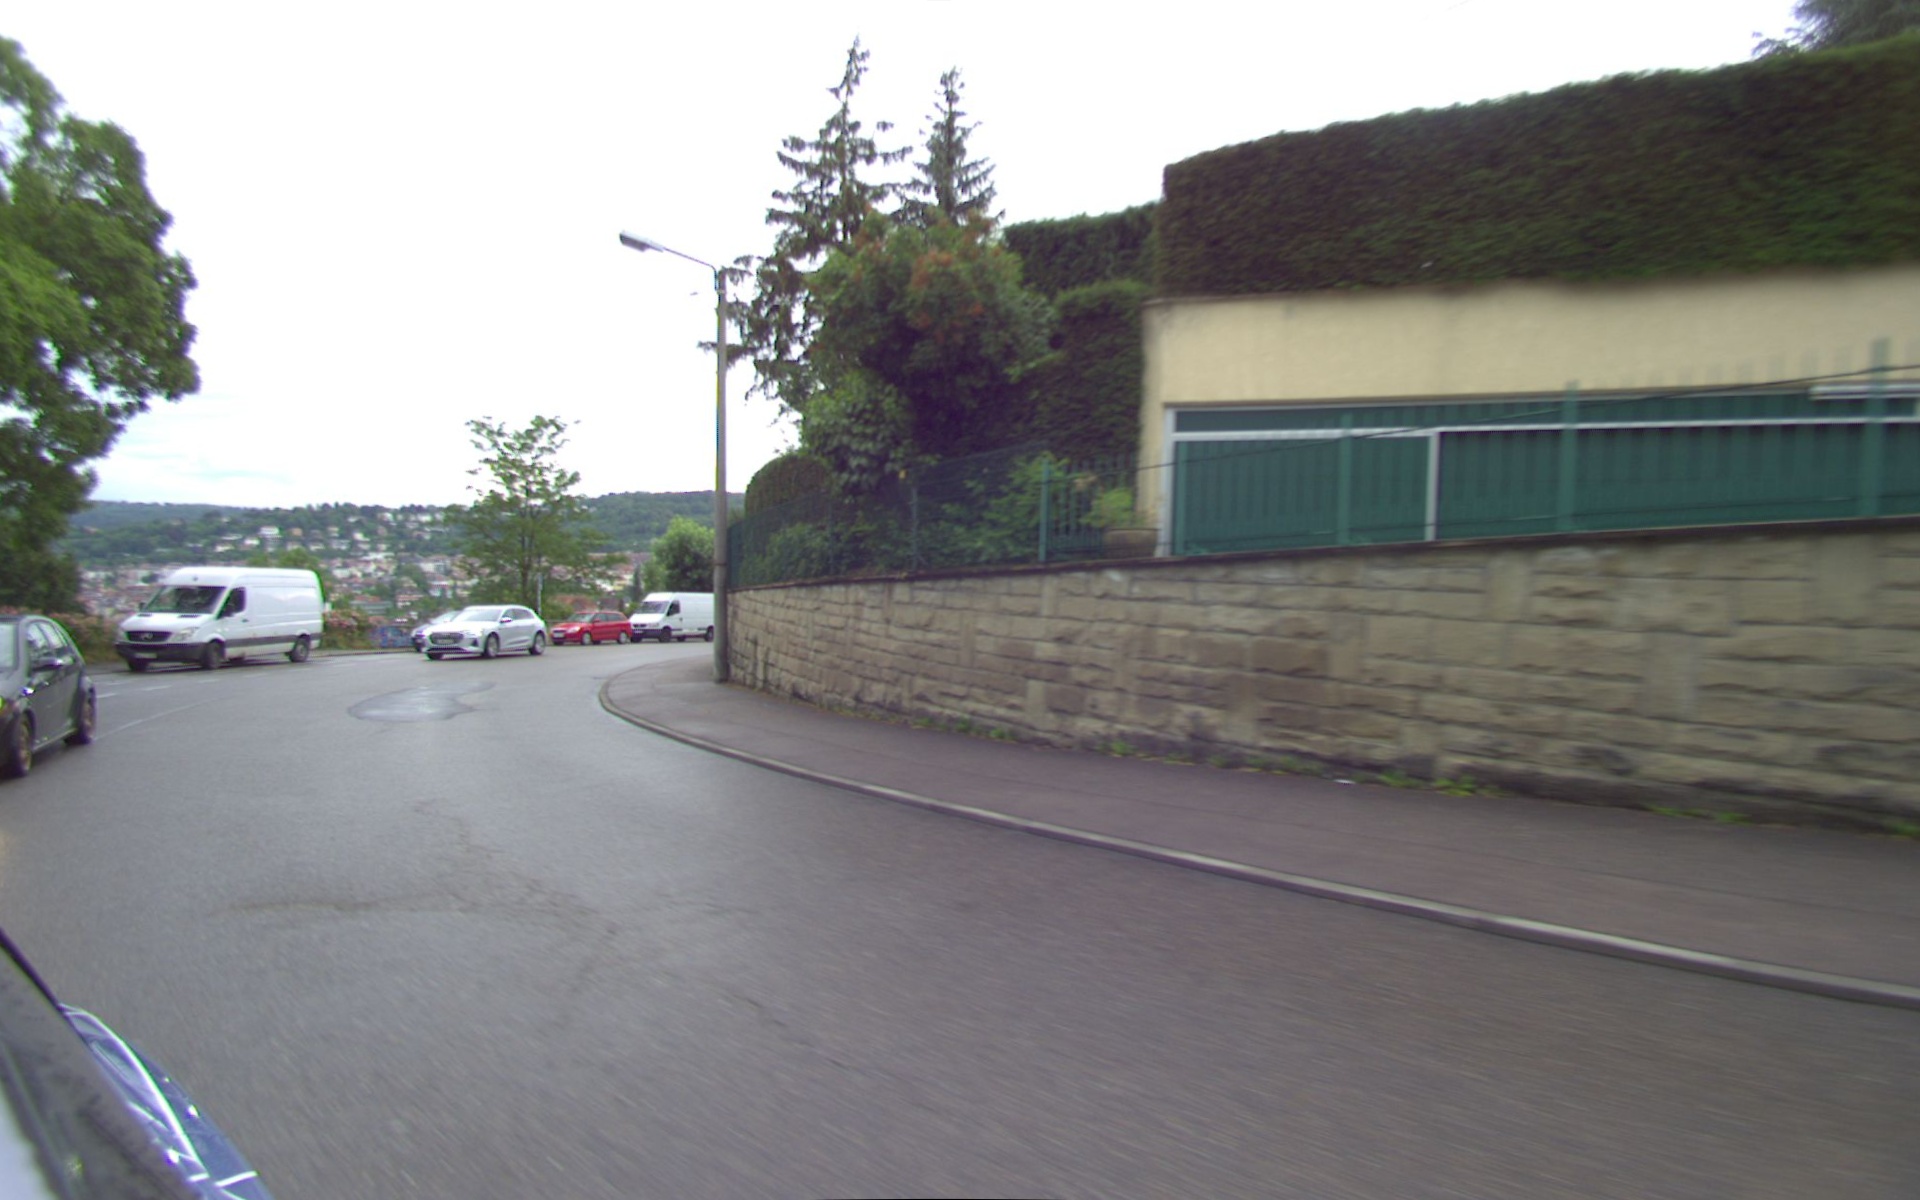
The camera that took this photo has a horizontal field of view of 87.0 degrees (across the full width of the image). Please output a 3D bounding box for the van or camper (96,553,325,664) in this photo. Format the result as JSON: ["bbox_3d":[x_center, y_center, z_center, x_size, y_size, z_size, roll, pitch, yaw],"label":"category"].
[{"bbox_3d":[-19.488,0.222,26.788,2.042,2.600,5.893,0,0,-4],"label":"van or camper"}]

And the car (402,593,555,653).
[{"bbox_3d":[-14.881,0.666,31.629,2.165,1.721,4.875,0,0,5],"label":"car"}]

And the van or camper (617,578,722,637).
[{"bbox_3d":[-14.206,0.452,49.852,2.066,2.681,5.556,-1,-3,21],"label":"van or camper"}]

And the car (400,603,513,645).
[{"bbox_3d":[-18.430,0.919,37.251,1.683,1.455,3.932,-1,-2,12],"label":"car"}]

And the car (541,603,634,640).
[{"bbox_3d":[-16.254,0.986,44.382,1.612,1.552,4.189,-1,-2,18],"label":"car"}]

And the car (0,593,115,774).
[{"bbox_3d":[-9.830,0.744,9.859,1.754,1.497,4.418,0,-2,-31],"label":"car"}]
